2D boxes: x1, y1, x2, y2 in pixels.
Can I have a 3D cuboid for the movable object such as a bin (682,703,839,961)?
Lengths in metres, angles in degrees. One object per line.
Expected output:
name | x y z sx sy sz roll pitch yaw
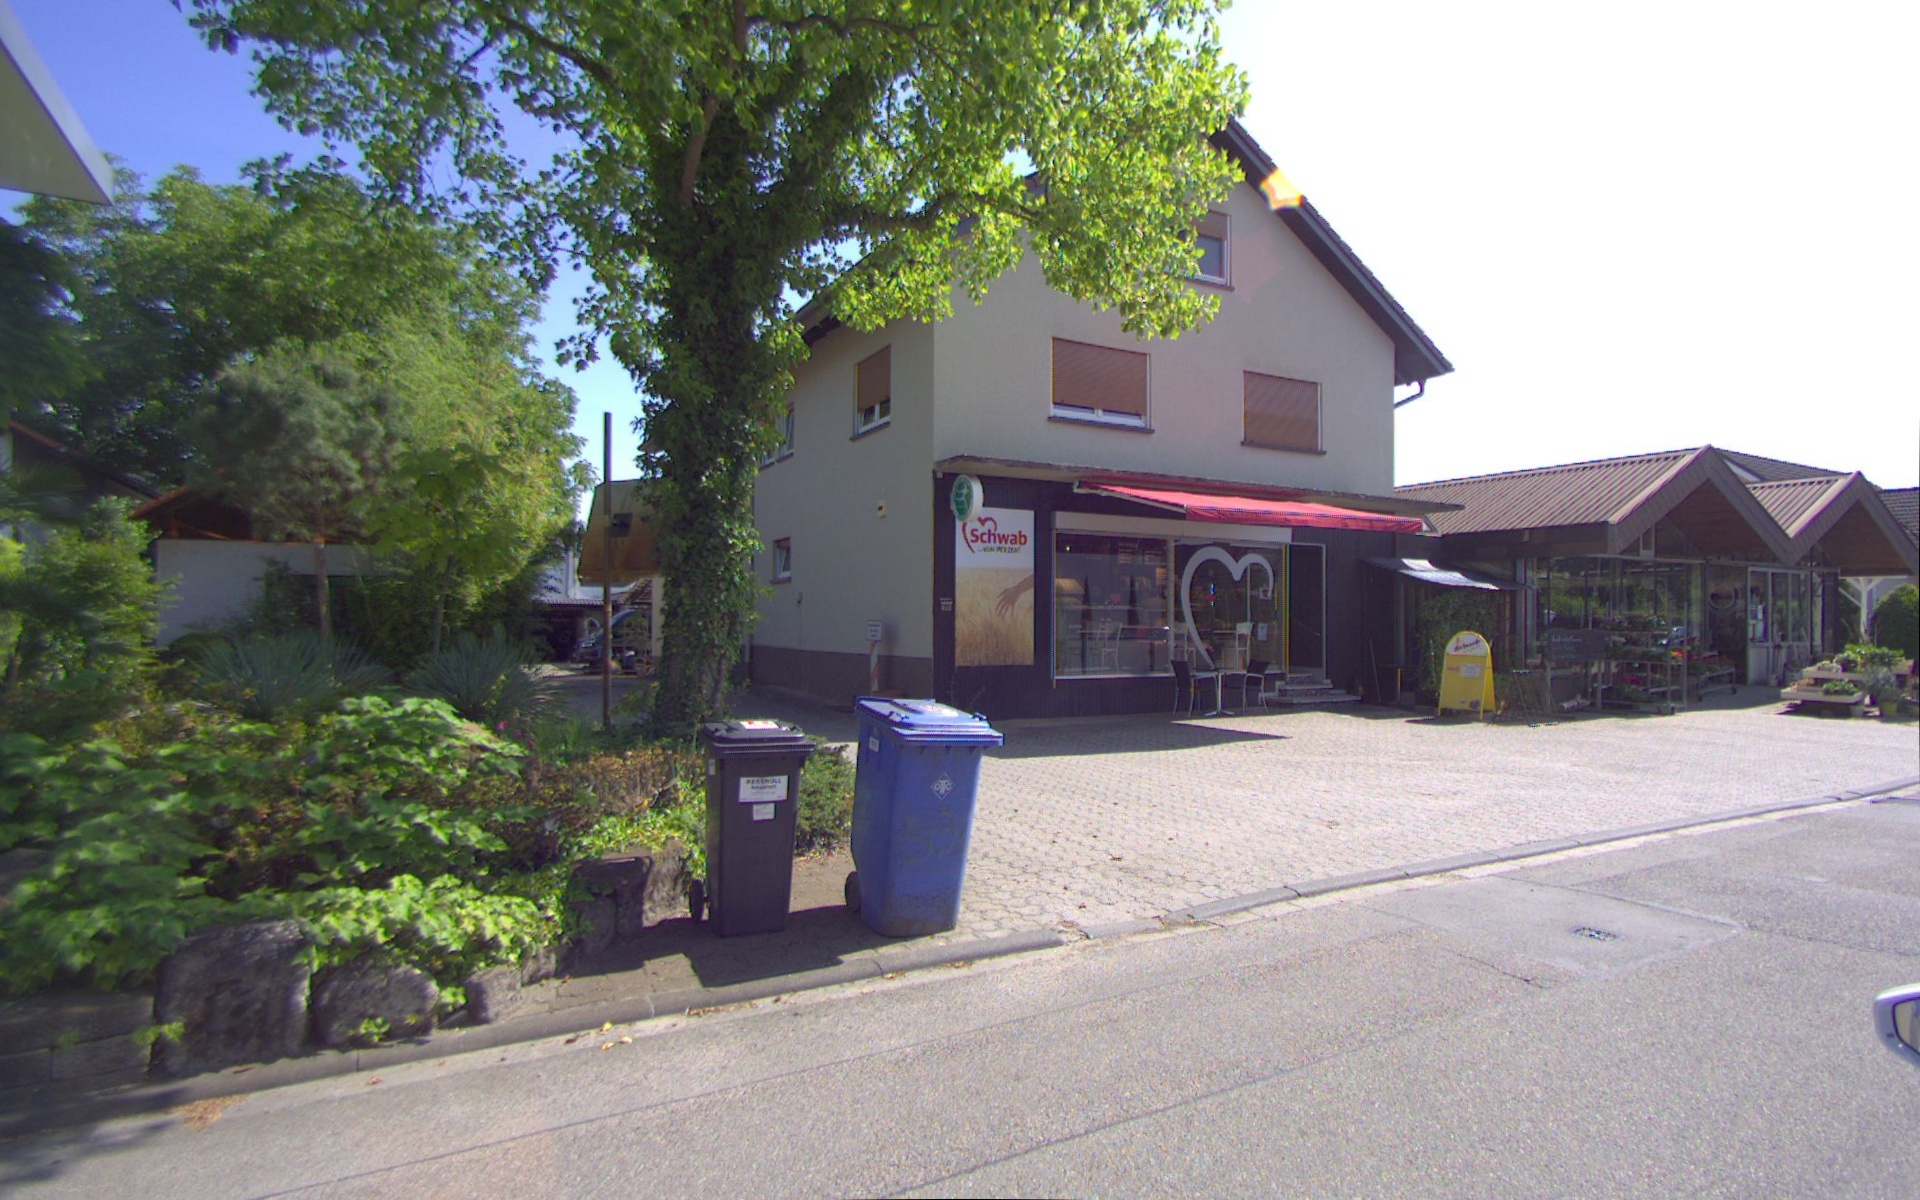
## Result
movable object such as a bin | -0.945 1.043 4.725 0.561 1.038 0.580 1 0 -30

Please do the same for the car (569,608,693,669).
car | -13.744 1.597 41.986 4.596 2.441 2.177 1 -2 -31

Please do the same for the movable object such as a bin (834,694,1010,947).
movable object such as a bin | -0.205 1.044 5.035 0.605 1.068 0.727 1 0 -30
